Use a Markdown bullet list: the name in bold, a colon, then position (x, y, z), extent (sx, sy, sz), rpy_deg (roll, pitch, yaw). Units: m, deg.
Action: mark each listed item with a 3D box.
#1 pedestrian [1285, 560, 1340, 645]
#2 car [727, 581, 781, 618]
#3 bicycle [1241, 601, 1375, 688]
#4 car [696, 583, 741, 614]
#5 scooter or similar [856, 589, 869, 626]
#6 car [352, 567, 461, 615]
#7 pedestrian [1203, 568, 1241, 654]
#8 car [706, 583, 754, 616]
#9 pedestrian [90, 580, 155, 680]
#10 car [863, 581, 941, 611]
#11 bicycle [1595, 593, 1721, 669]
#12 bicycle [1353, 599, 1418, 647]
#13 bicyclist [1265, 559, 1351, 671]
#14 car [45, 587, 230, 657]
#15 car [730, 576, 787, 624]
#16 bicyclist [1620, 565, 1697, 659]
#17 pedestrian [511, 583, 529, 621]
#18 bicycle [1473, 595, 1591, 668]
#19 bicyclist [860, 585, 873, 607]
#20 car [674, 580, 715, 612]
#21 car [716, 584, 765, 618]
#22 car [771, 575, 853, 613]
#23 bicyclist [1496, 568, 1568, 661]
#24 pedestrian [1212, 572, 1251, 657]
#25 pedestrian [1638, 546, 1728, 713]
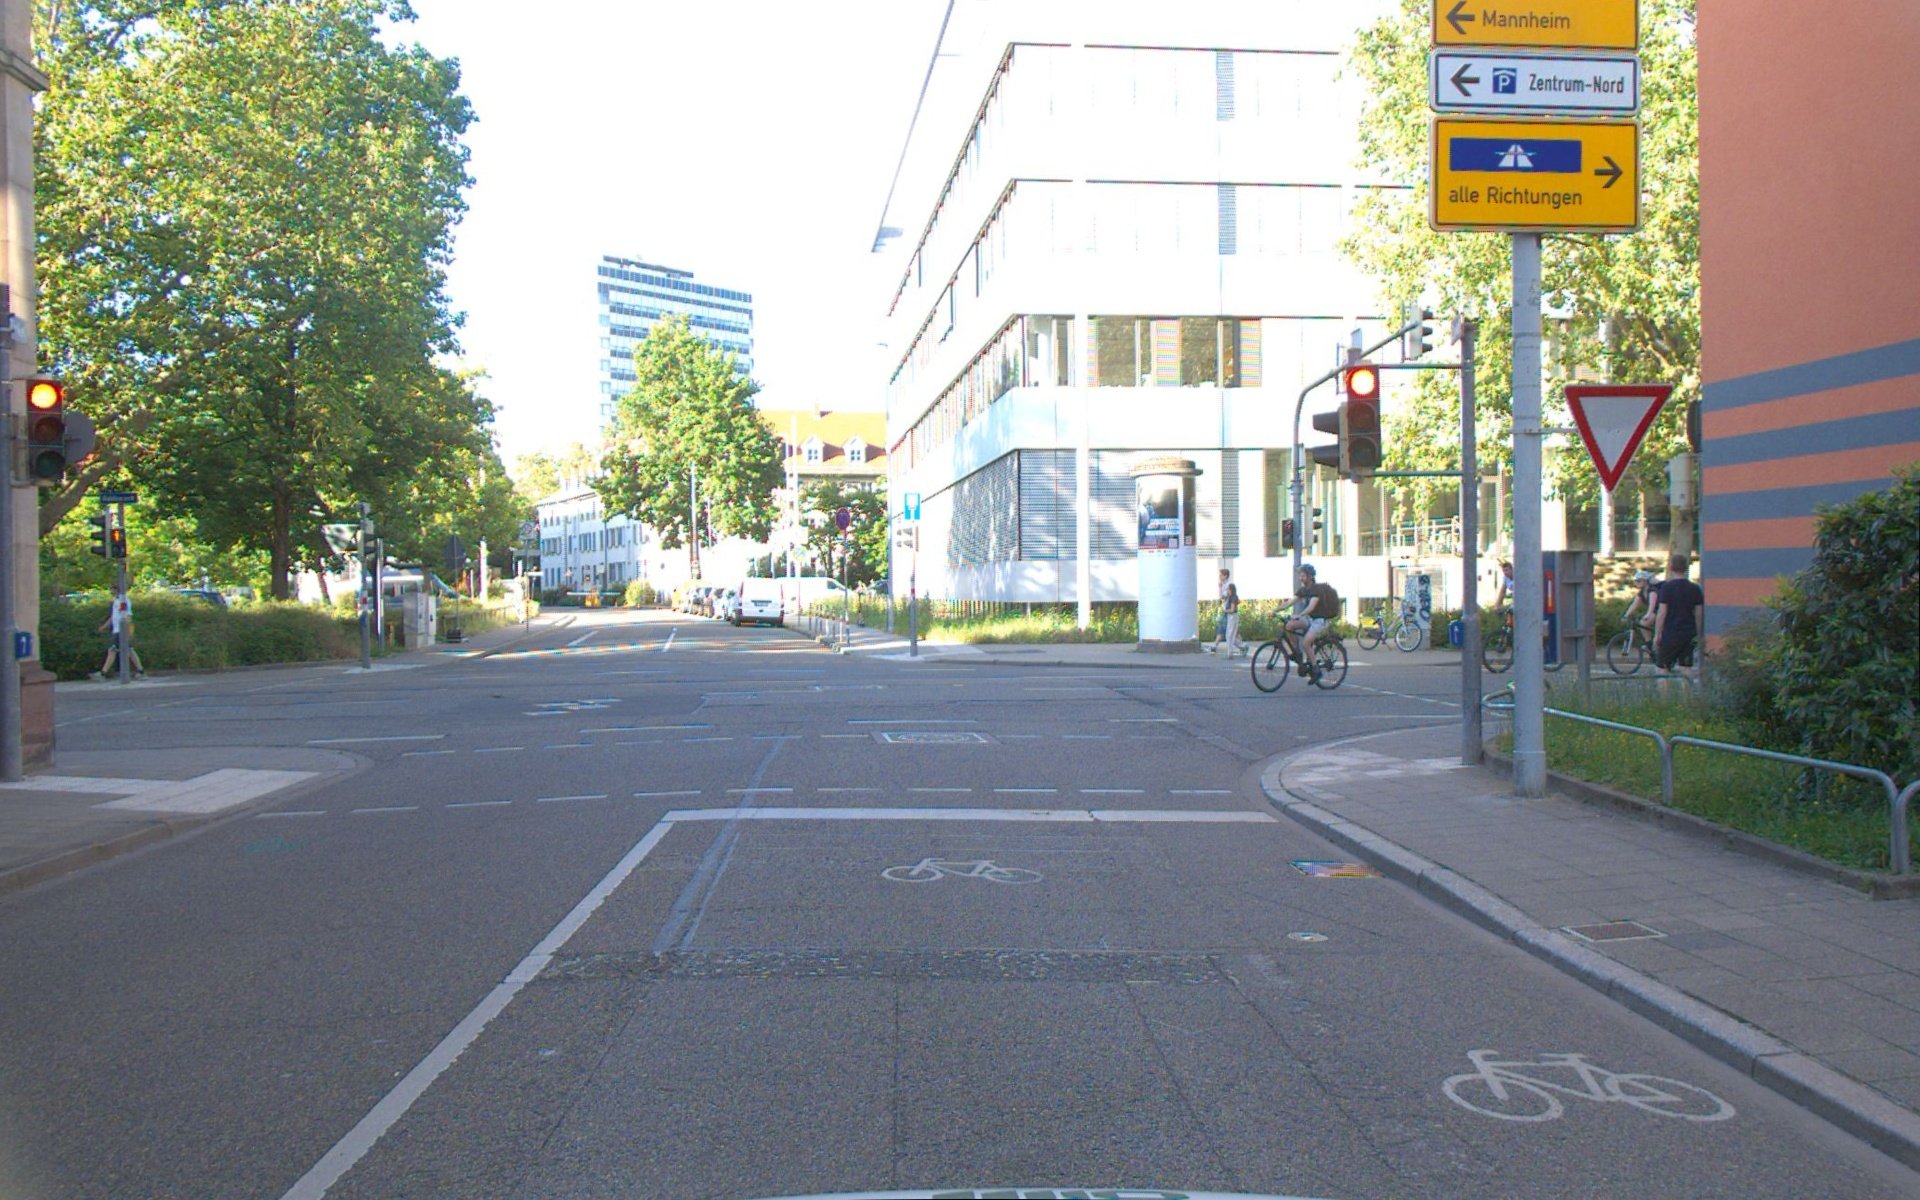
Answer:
- **pedestrian**: position (7.786, 0.062, 36.524), extent (0.901, 1.847, 0.757), rpy_deg (0, -1, 43)
- **car**: position (-8.869, -0.023, 70.902), extent (1.958, 1.525, 4.639), rpy_deg (1, 0, -11)
- **bicycle**: position (4.972, 0.611, 23.581), extent (1.941, 1.172, 0.587), rpy_deg (-1, 0, -28)
- **car**: position (-12.551, -0.057, 85.789), extent (1.959, 1.525, 4.637), rpy_deg (1, 0, -13)
- **scooter or similar**: position (-3.428, 0.265, 58.236), extent (0.429, 1.278, 1.418), rpy_deg (-1, 0, -5)
- **car**: position (-24.963, -0.388, 74.682), extent (4.363, 2.049, 1.995), rpy_deg (1, 0, -10)
- **pedestrian**: position (5.616, 0.234, 35.426), extent (0.748, 1.826, 0.648), rpy_deg (1, -1, 6)
- **car**: position (-11.308, -0.014, 81.083), extent (1.959, 1.525, 4.272), rpy_deg (1, 0, -13)
- **pedestrian**: position (-16.150, 0.571, 31.902), extent (0.910, 1.901, 0.730), rpy_deg (1, -1, -44)
- **car**: position (-3.675, -0.248, 104.723), extent (4.563, 1.755, 1.991), rpy_deg (1, 0, -17)
- **bicycle**: position (11.170, 0.495, 26.488), extent (1.743, 1.172, 0.627), rpy_deg (-1, 0, -3)
- **bicycle**: position (9.323, 0.507, 36.282), extent (0.376, 1.026, 1.410), rpy_deg (-1, 0, -42)
- **bicyclist**: position (4.959, 0.201, 23.587), extent (1.063, 1.554, 0.587), rpy_deg (-1, 0, -28)
- **car**: position (-18.367, 0.493, 37.064), extent (3.347, 1.483, 1.646), rpy_deg (1, 0, -11)
- **car**: position (-7.917, 0.013, 64.702), extent (1.957, 1.755, 4.641), rpy_deg (1, 0, -10)
- **bicyclist**: position (11.180, 0.187, 26.485), extent (0.951, 1.471, 0.627), rpy_deg (-1, 0, -3)
- **pedestrian**: position (-18.888, 0.099, 70.997), extent (0.688, 1.614, 0.634), rpy_deg (1, -1, -16)
- **bicycle**: position (9.726, 0.523, 28.107), extent (1.934, 1.172, 0.624), rpy_deg (-1, 0, -20)
- **bicyclist**: position (-6.118, -0.245, 108.136), extent (0.733, 1.421, 0.589), rpy_deg (-1, 0, -17)
- **car**: position (-15.384, -0.219, 95.605), extent (1.960, 1.755, 4.635), rpy_deg (1, 0, -14)
- **car**: position (-10.195, 0.054, 76.652), extent (1.958, 1.525, 4.639), rpy_deg (1, 0, -11)
- **car**: position (-9.200, -0.362, 102.797), extent (4.718, 2.196, 1.990), rpy_deg (1, 0, -18)
- **bicyclist**: position (9.717, 0.243, 28.116), extent (0.902, 1.549, 0.700), rpy_deg (-1, 0, -19)
- **pedestrian**: position (5.670, 0.298, 34.618), extent (0.748, 1.749, 0.648), rpy_deg (1, -1, 6)
- **pedestrian**: position (8.181, 0.327, 18.718), extent (0.713, 1.842, 0.691), rpy_deg (1, -1, -42)
